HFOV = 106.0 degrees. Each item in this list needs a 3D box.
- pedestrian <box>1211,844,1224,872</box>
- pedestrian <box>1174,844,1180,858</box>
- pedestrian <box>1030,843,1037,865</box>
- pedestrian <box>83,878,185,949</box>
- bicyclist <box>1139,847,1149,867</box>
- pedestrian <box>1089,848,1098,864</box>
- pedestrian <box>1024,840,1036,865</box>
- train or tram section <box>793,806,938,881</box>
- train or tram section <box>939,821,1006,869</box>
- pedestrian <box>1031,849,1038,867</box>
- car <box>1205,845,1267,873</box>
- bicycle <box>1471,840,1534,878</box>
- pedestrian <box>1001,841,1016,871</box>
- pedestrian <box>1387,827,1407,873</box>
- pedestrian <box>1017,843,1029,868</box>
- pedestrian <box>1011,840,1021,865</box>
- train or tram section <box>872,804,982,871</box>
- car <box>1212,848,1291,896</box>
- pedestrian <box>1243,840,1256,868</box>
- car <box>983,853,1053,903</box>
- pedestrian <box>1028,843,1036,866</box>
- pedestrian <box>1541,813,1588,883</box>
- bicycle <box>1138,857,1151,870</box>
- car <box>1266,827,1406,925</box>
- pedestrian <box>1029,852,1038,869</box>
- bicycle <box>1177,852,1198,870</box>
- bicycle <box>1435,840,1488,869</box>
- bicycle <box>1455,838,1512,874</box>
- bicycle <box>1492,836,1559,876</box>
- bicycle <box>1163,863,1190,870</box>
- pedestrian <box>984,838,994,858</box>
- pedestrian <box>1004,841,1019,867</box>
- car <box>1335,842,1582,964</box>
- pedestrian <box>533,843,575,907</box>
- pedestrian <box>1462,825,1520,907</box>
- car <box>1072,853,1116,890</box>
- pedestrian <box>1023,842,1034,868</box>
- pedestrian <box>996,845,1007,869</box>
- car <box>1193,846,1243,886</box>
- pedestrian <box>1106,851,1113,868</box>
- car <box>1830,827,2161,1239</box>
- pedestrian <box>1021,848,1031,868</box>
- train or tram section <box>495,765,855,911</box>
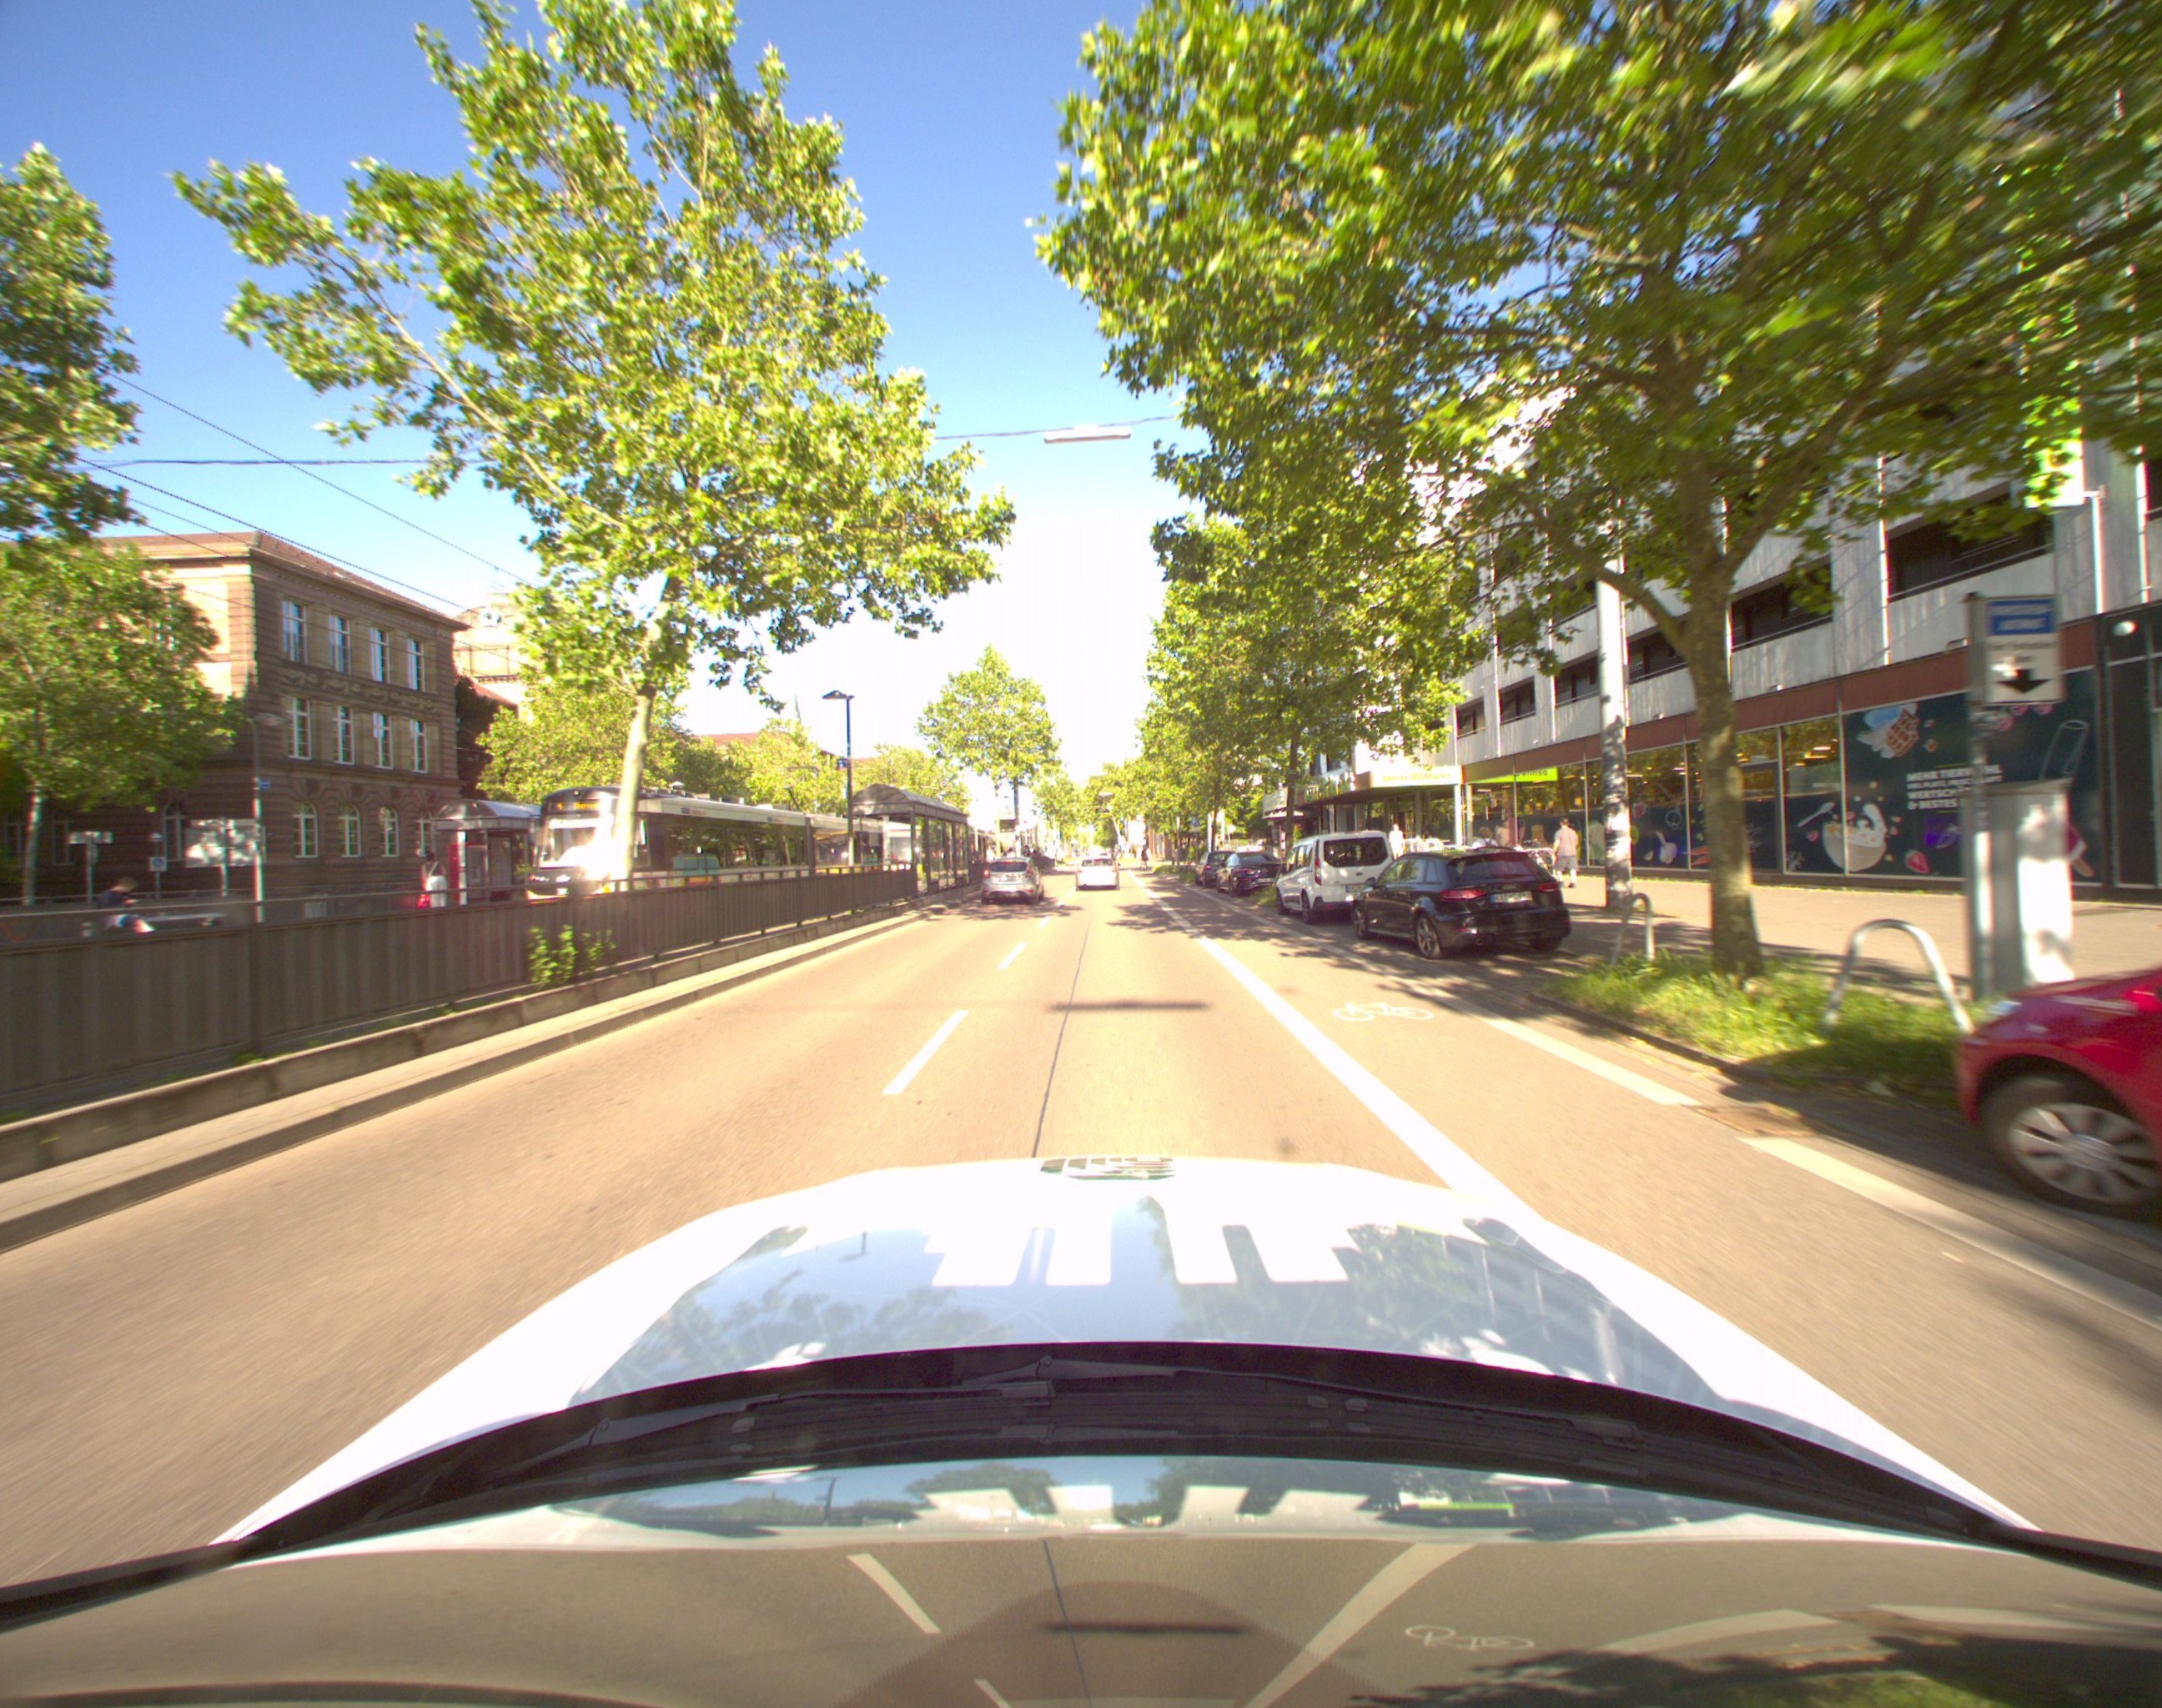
[{"bbox_3d":[8.631,0.254,51.583,0.558,1.704,1.052,-3,0,1],"label":"pedestrian"},{"bbox_3d":[11.293,-0.391,95.482,0.623,1.629,0.946,-1,0,10],"label":"pedestrian"},{"bbox_3d":[-3.880,0.020,66.479,0.546,1.734,0.539,-2,0,-3],"label":"pedestrian"},{"bbox_3d":[-16.753,1.040,14.430,0.723,1.167,0.887,-2,0,2],"label":"pedestrian"},{"bbox_3d":[5.311,0.269,68.889,0.654,1.657,0.767,-3,0,10],"label":"bicyclist"},{"bbox_3d":[1.254,0.198,83.043,0.824,1.575,0.741,-2,-1,9],"label":"pedestrian"},{"bbox_3d":[-3.558,-0.114,56.788,0.658,1.696,0.571,-2,0,2],"label":"pedestrian"},{"bbox_3d":[-11.569,-0.518,46.868,2.838,3.434,18.224,-1,0,2],"label":"train or tram section"},{"bbox_3d":[-7.980,-0.503,61.999,2.903,3.260,13.117,0,-1,2],"label":"train or tram section"},{"bbox_3d":[-3.344,0.300,58.659,0.414,1.316,0.507,-2,0,0],"label":"pedestrian"},{"bbox_3d":[13.465,0.445,70.901,4.879,1.984,1.914,-5,0,1],"label":"car"},{"bbox_3d":[13.314,0.161,25.715,1.683,1.055,0.589,-4,1,28],"label":"bicycle"},{"bbox_3d":[-4.450,0.129,49.980,0.773,1.752,0.723,-3,0,-2],"label":"pedestrian"},{"bbox_3d":[12.490,-0.159,32.196,0.606,1.715,0.616,-4,2,18],"label":"pedestrian"},{"bbox_3d":[-3.893,0.111,54.736,0.658,1.634,0.571,-2,0,2],"label":"pedestrian"},{"bbox_3d":[-4.590,-0.110,57.633,0.631,1.702,0.746,-2,0,-2],"label":"pedestrian"},{"bbox_3d":[-8.429,-0.694,47.460,2.903,3.260,15.898,0,-1,2],"label":"train or tram section"},{"bbox_3d":[5.614,0.544,27.346,1.755,1.418,4.701,-1,0,1],"label":"car"},{"bbox_3d":[10.708,-0.019,51.748,0.558,1.744,0.879,-3,0,1],"label":"pedestrian"},{"bbox_3d":[-1.929,0.706,25.908,1.723,1.390,3.843,-1,1,3],"label":"car"},{"bbox_3d":[-3.817,0.050,63.227,0.546,1.734,0.540,-2,0,0],"label":"pedestrian"},{"bbox_3d":[12.151,-0.155,20.481,0.555,1.678,0.882,-4,0,1],"label":"pedestrian"},{"bbox_3d":[5.375,0.774,69.148,0.826,1.041,1.880,-3,0,10],"label":"bicycle"},{"bbox_3d":[5.400,0.401,17.844,1.757,1.792,4.395,-3,0,2],"label":"car"},{"bbox_3d":[-3.342,0.444,57.553,0.543,1.192,0.531,-2,0,1],"label":"pedestrian"},{"bbox_3d":[6.956,0.474,53.061,0.788,1.133,1.839,-2,0,-11],"label":"bicycle"},{"bbox_3d":[13.665,0.026,29.252,1.631,0.916,0.589,-4,3,28],"label":"bicycle"},{"bbox_3d":[13.728,0.069,27.779,1.683,1.055,0.589,-4,3,28],"label":"bicycle"},{"bbox_3d":[13.453,0.065,24.676,1.683,1.055,0.589,-5,0,28],"label":"bicycle"},{"bbox_3d":[6.294,0.835,53.792,1.602,0.353,1.389,-2,0,2],"label":"bicycle"},{"bbox_3d":[-5.949,-0.372,52.956,0.532,1.299,0.604,-3,0,-2],"label":"pedestrian"},{"bbox_3d":[-4.151,0.020,48.594,0.773,1.509,0.751,-3,0,-2],"label":"pedestrian"},{"bbox_3d":[5.322,0.597,12.183,1.722,1.403,4.296,-4,0,1],"label":"car"},{"bbox_3d":[-15.806,0.620,24.432,0.707,1.855,0.648,-3,0,0],"label":"pedestrian"},{"bbox_3d":[8.490,0.234,16.880,0.695,1.612,0.869,-4,0,3],"label":"pedestrian"},{"bbox_3d":[0.585,0.676,33.535,1.653,1.409,3.635,-1,0,3],"label":"car"},{"bbox_3d":[-3.586,0.060,55.509,0.658,1.696,0.571,-2,0,2],"label":"pedestrian"},{"bbox_3d":[-5.581,0.217,57.126,0.607,1.702,0.545,-2,0,-3],"label":"pedestrian"},{"bbox_3d":[5.708,0.479,34.386,1.559,1.550,4.002,-2,0,2],"label":"car"},{"bbox_3d":[2.891,0.528,81.709,0.636,1.619,0.642,-2,-3,1],"label":"pedestrian"},{"bbox_3d":[4.729,0.626,2.358,1.667,1.438,3.690,-4,-1,1],"label":"car"},{"bbox_3d":[-3.502,0.224,52.178,0.532,1.246,0.604,-3,0,0],"label":"pedestrian"},{"bbox_3d":[-12.245,-0.430,28.602,2.860,3.434,18.285,-1,0,2],"label":"train or tram section"}]
